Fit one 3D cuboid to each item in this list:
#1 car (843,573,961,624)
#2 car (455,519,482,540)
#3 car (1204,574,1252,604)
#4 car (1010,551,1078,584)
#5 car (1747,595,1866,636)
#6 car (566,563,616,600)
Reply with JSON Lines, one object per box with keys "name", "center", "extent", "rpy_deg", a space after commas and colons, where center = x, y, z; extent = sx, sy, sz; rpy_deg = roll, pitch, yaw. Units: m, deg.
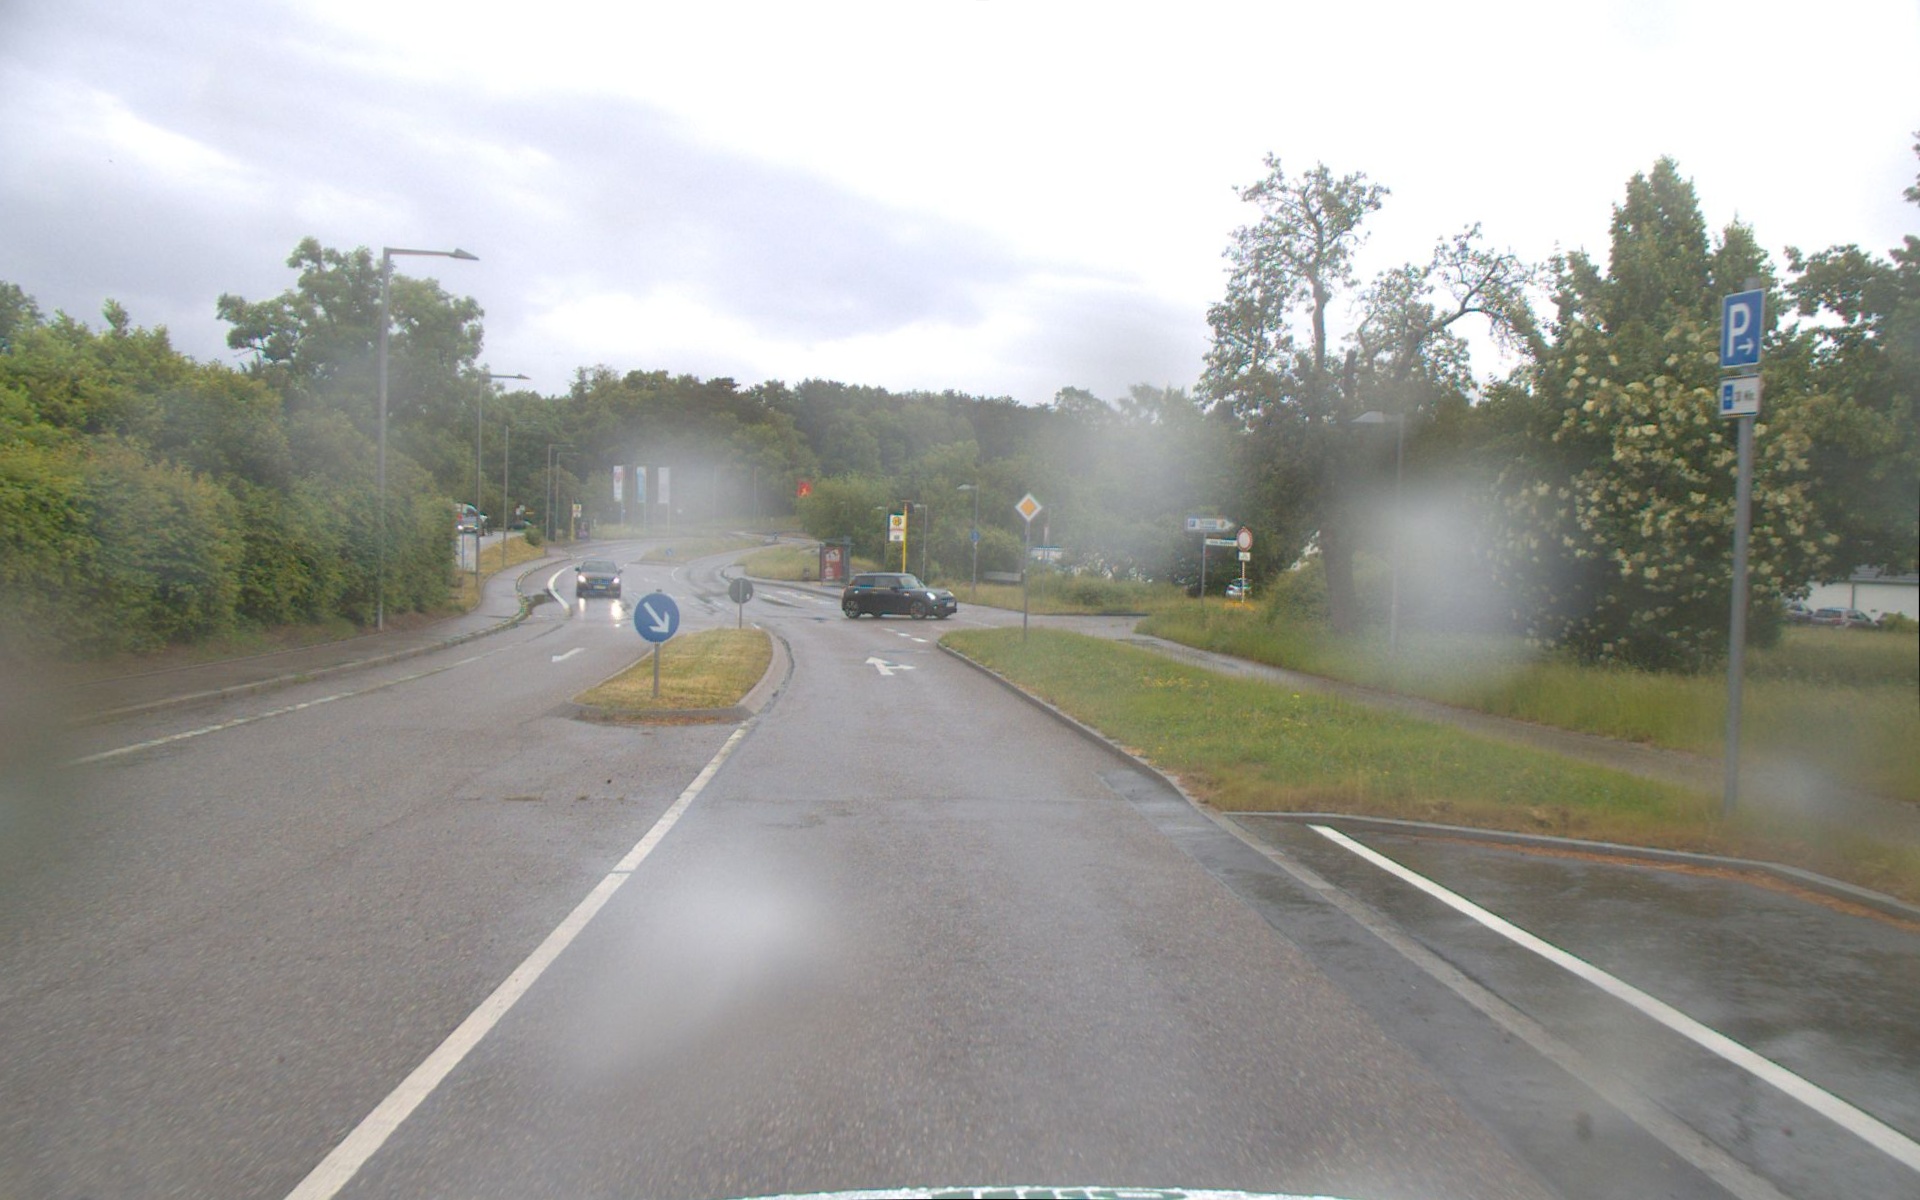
{"name": "car", "center": [-1.828, -0.066, 52.512], "extent": [3.447, 1.379, 1.461], "rpy_deg": [4, 1, 12]}
{"name": "car", "center": [-40.383, -5.777, 135.743], "extent": [1.666, 1.648, 3.866], "rpy_deg": [1, 1, -24]}
{"name": "car", "center": [14.841, -0.630, 91.874], "extent": [1.891, 1.534, 3.999], "rpy_deg": [0, 3, -2]}
{"name": "car", "center": [4.789, -1.854, 94.656], "extent": [3.356, 1.720, 1.991], "rpy_deg": [0, -3, 37]}
{"name": "car", "center": [38.766, 0.725, 75.815], "extent": [1.894, 1.780, 4.493], "rpy_deg": [-1, -1, -39]}
{"name": "car", "center": [-15.309, -0.796, 68.727], "extent": [1.933, 1.438, 4.402], "rpy_deg": [-1, 2, -13]}
